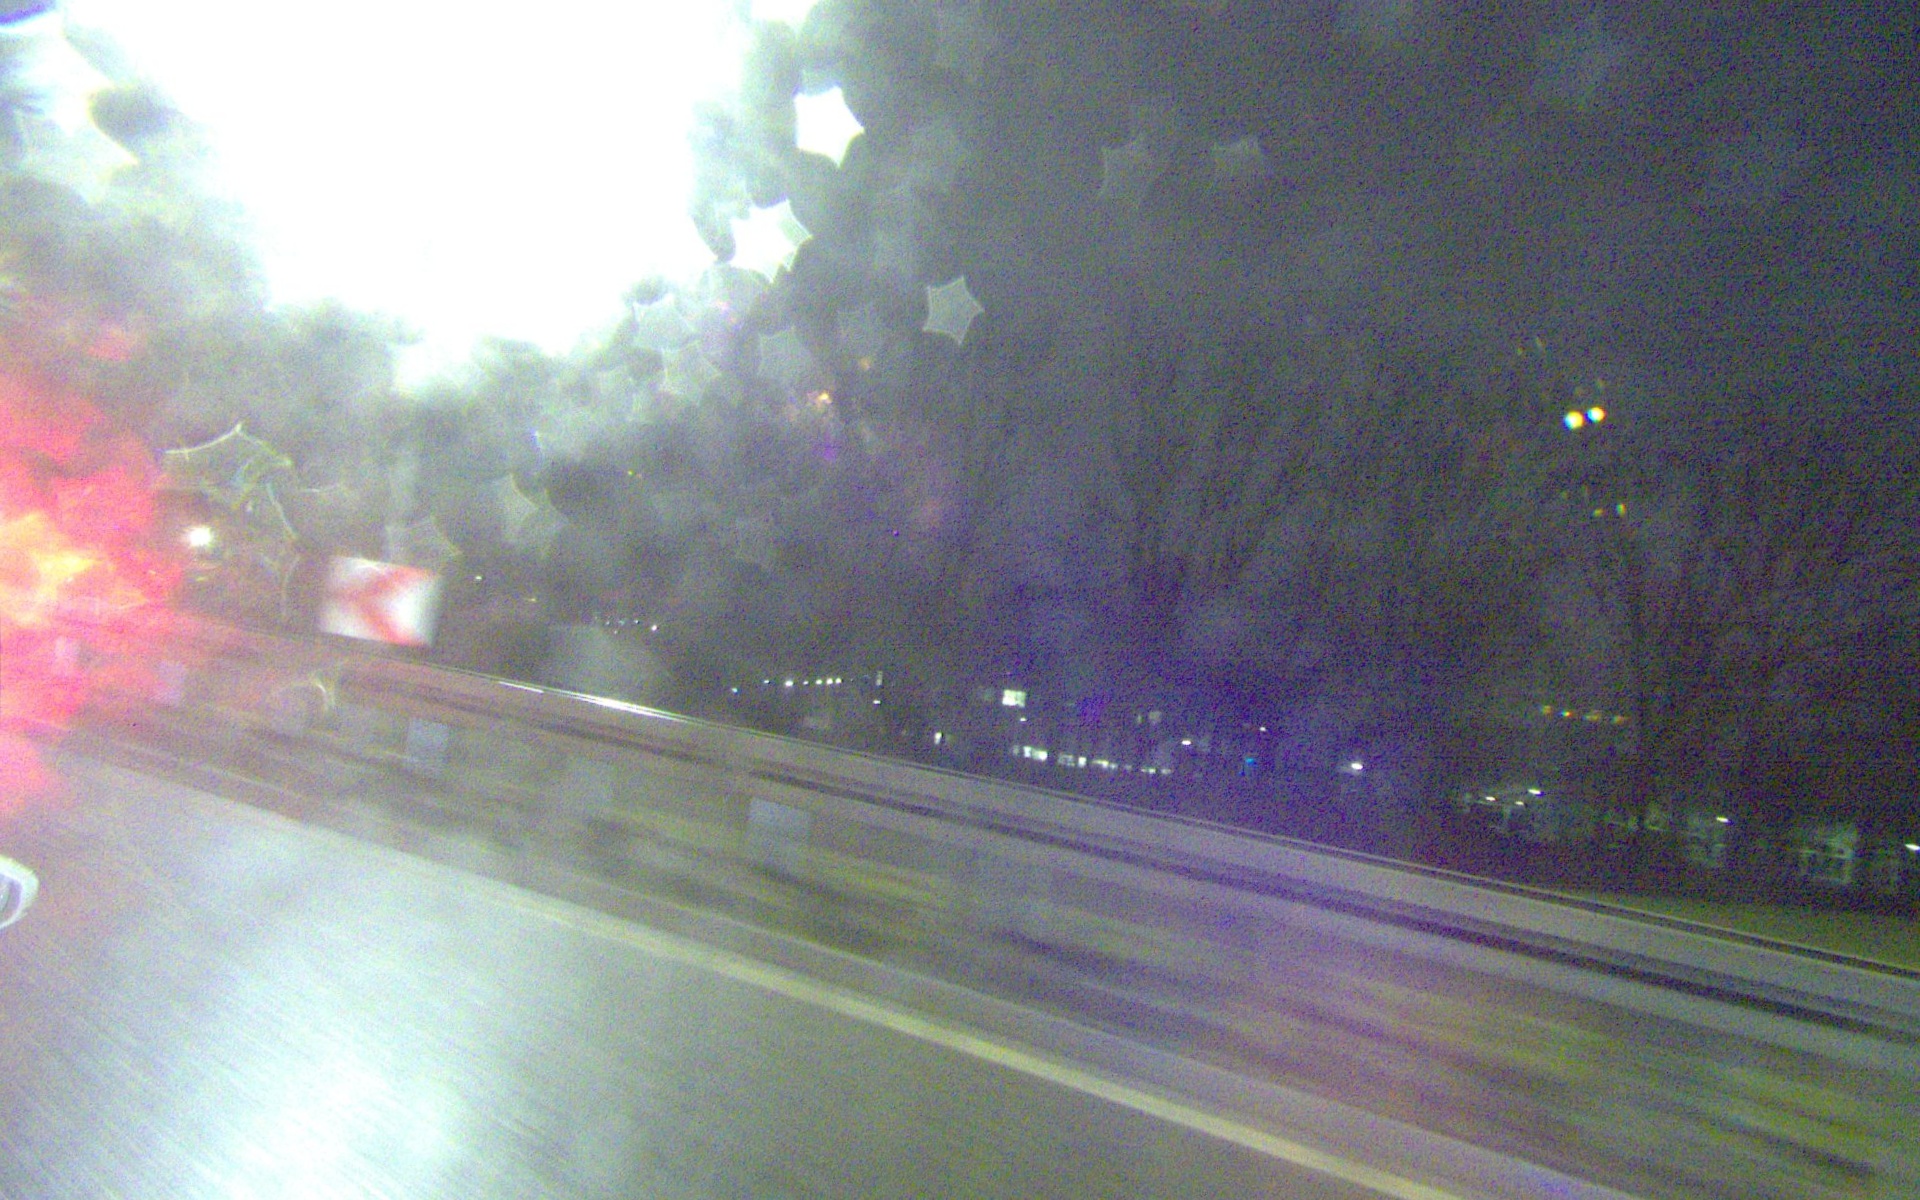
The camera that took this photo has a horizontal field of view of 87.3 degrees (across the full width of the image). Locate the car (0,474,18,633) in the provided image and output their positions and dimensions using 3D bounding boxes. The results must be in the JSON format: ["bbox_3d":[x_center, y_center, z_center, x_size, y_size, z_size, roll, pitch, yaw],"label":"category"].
[{"bbox_3d":[-7.092,-0.101,5.289,3.931,1.605,1.860,6,-1,28],"label":"car"}]
